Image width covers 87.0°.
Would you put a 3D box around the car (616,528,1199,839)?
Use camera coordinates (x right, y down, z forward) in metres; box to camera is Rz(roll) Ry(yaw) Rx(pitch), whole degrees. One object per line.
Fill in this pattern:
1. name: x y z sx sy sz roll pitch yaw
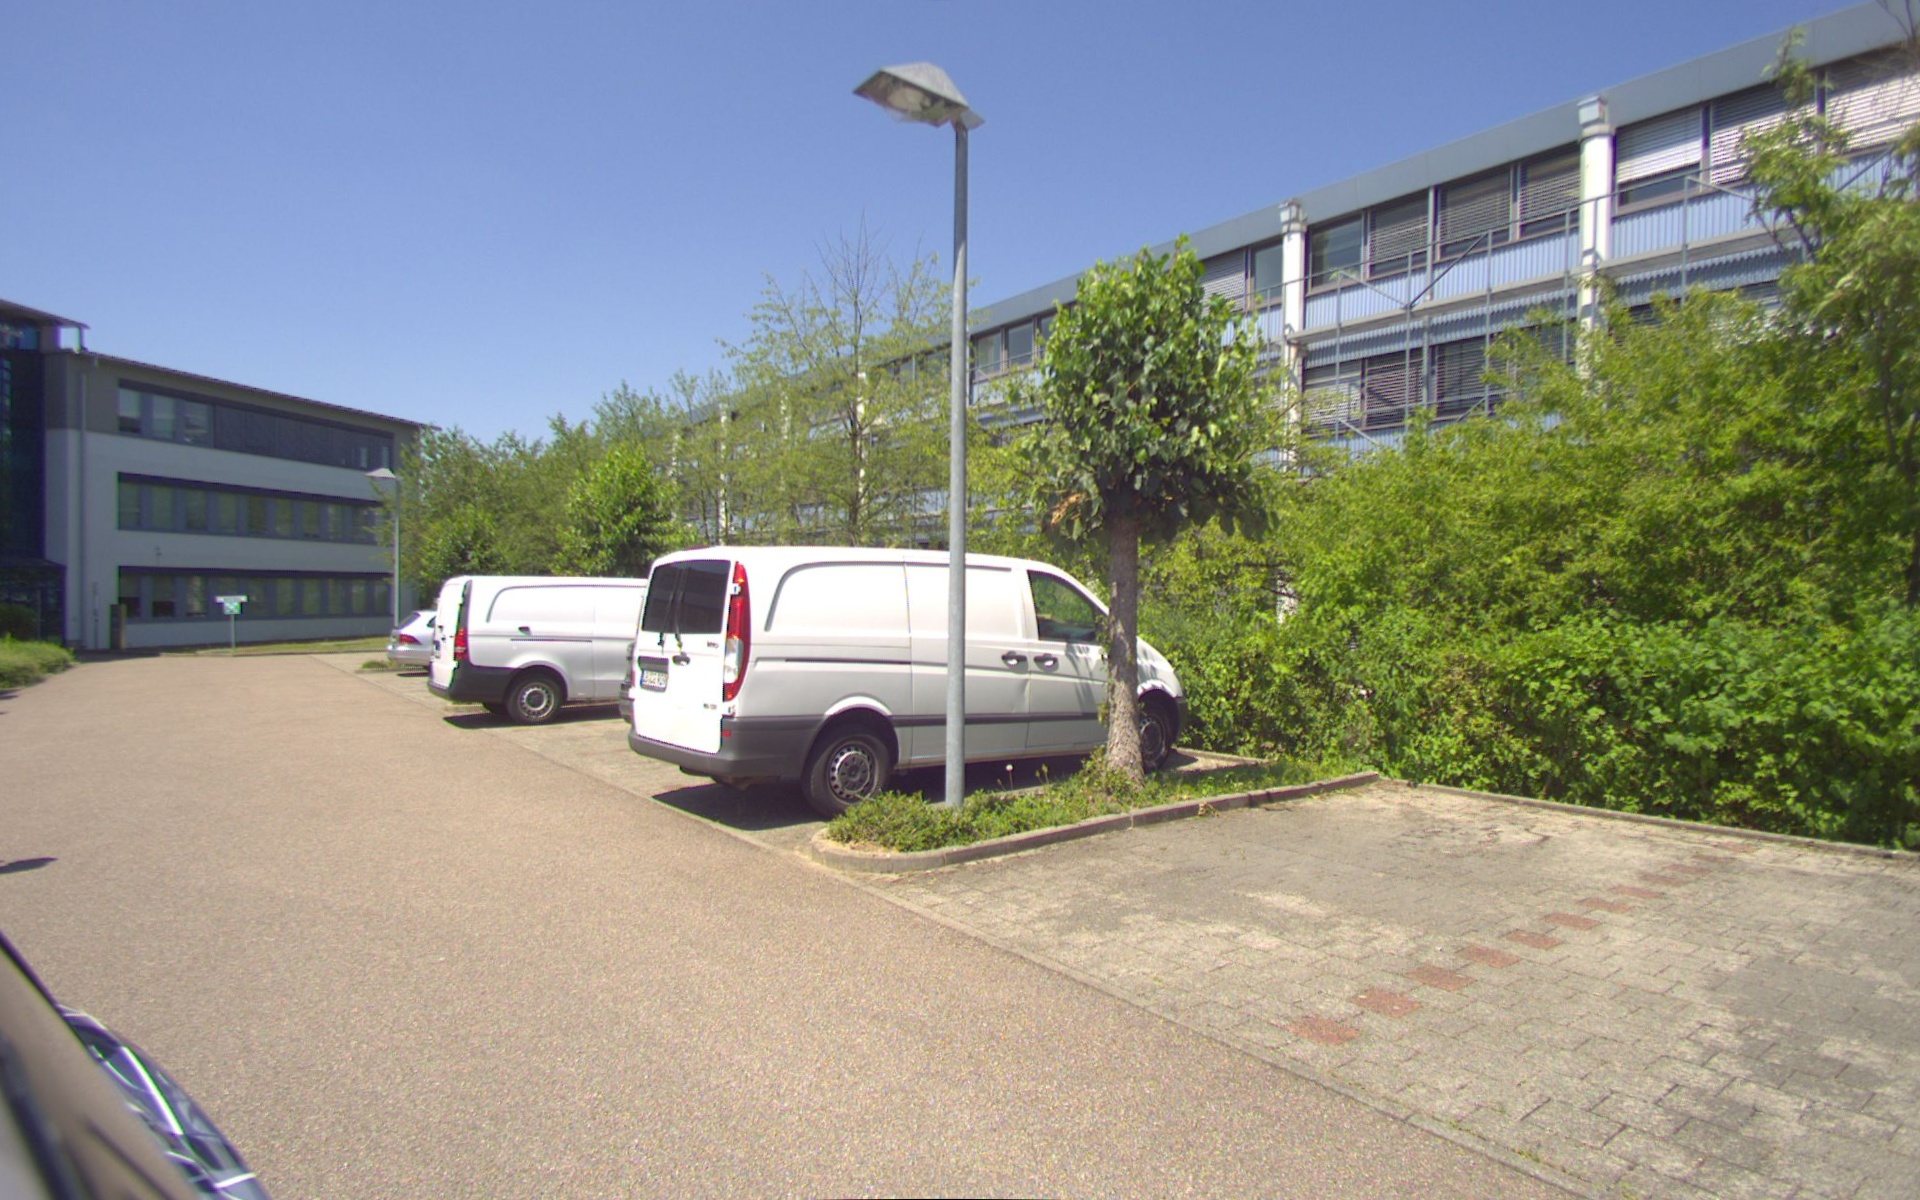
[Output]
1. car: -0.226 0.521 8.435 4.660 1.920 1.833 0 -1 -39

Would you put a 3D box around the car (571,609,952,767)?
1. car: -2.061 0.822 11.056 3.790 1.404 1.579 0 -1 -39

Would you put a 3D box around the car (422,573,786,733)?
1. car: -4.846 0.630 14.108 4.448 1.896 1.833 0 -1 -39

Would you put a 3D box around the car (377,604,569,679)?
1. car: -11.152 0.891 23.262 3.705 1.569 1.664 0 -1 -39
